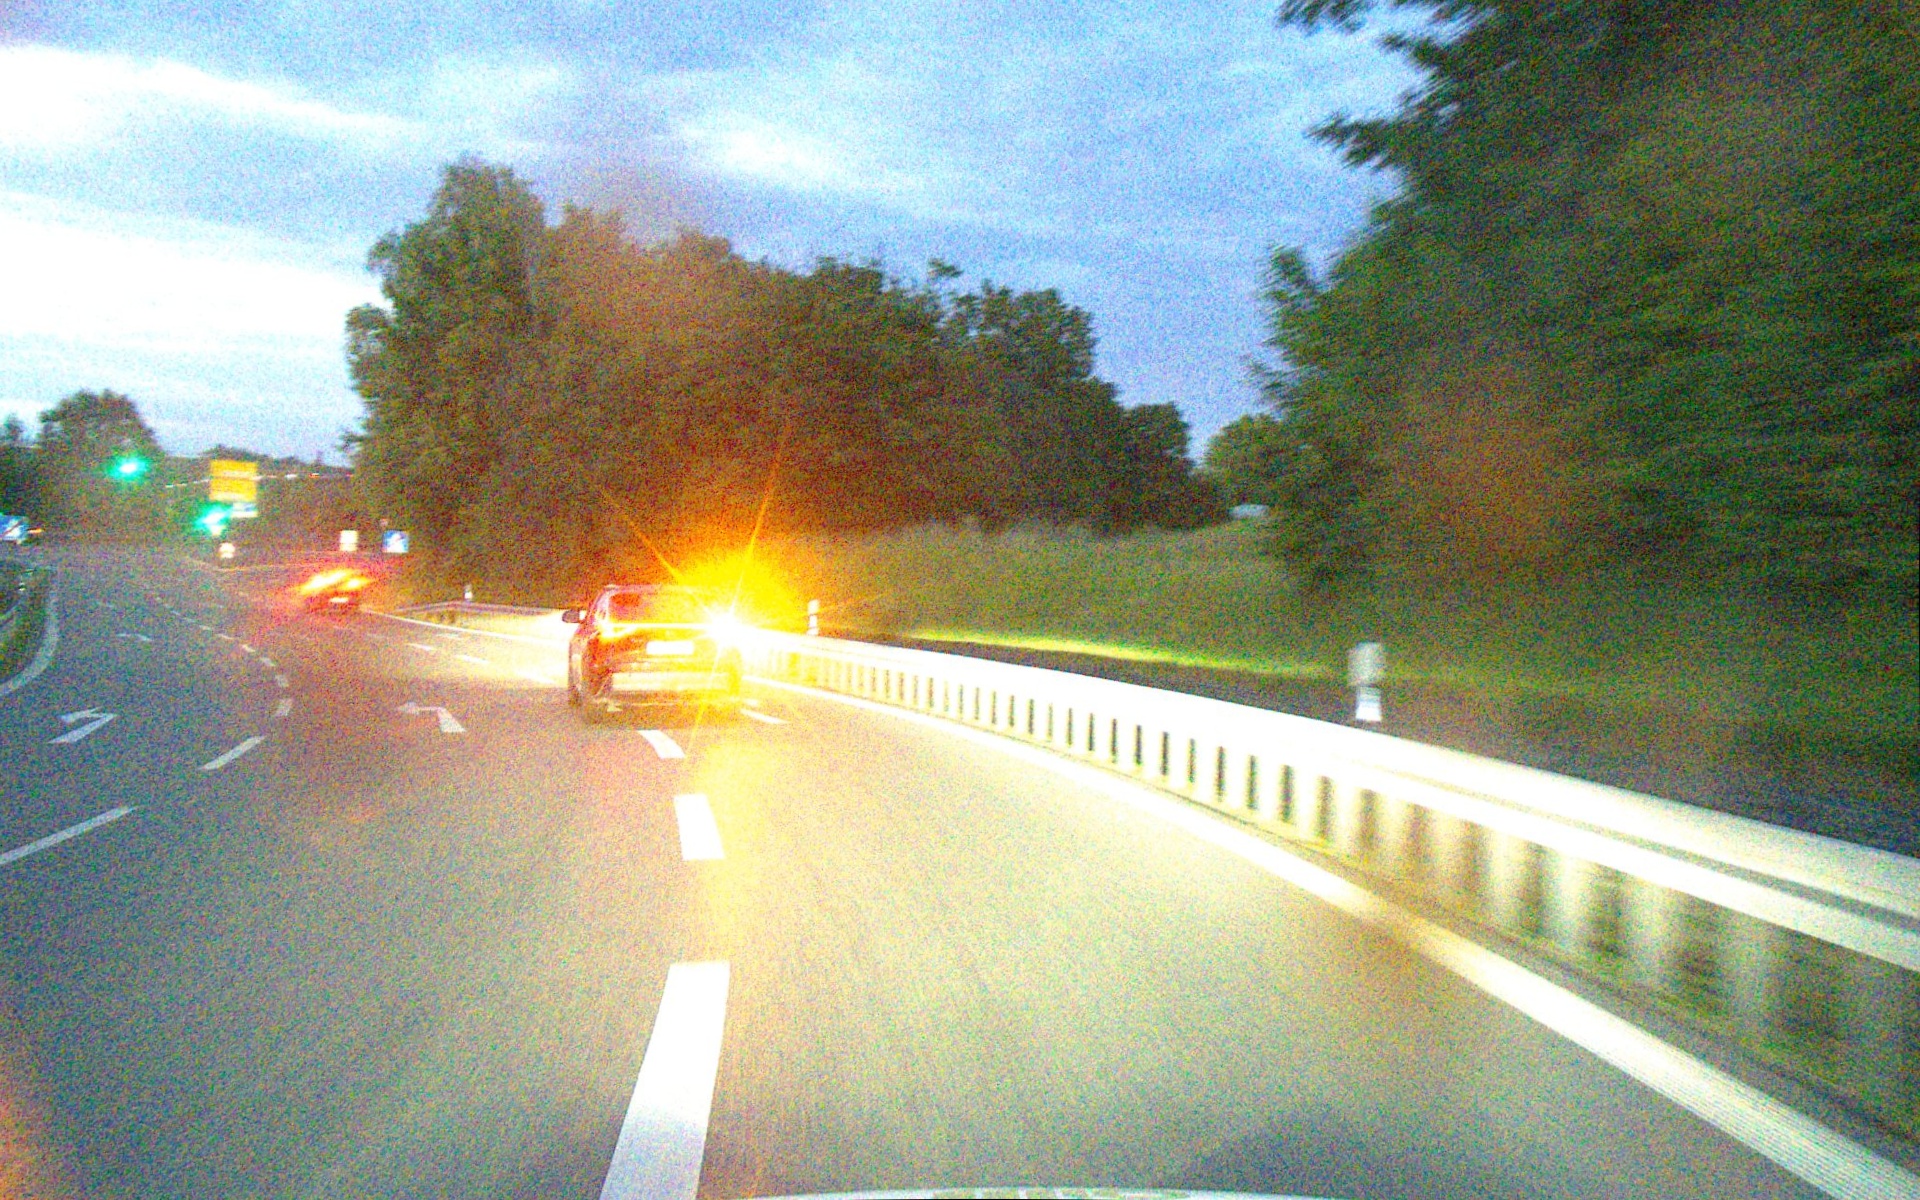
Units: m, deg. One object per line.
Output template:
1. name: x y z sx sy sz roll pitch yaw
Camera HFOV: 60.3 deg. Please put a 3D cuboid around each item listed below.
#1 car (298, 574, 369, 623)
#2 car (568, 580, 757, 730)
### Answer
1. car: -23.094 -0.049 60.908 1.763 1.682 3.958 2 -1 -31
2. car: -3.845 0.618 20.776 1.870 1.648 4.536 0 0 -16
